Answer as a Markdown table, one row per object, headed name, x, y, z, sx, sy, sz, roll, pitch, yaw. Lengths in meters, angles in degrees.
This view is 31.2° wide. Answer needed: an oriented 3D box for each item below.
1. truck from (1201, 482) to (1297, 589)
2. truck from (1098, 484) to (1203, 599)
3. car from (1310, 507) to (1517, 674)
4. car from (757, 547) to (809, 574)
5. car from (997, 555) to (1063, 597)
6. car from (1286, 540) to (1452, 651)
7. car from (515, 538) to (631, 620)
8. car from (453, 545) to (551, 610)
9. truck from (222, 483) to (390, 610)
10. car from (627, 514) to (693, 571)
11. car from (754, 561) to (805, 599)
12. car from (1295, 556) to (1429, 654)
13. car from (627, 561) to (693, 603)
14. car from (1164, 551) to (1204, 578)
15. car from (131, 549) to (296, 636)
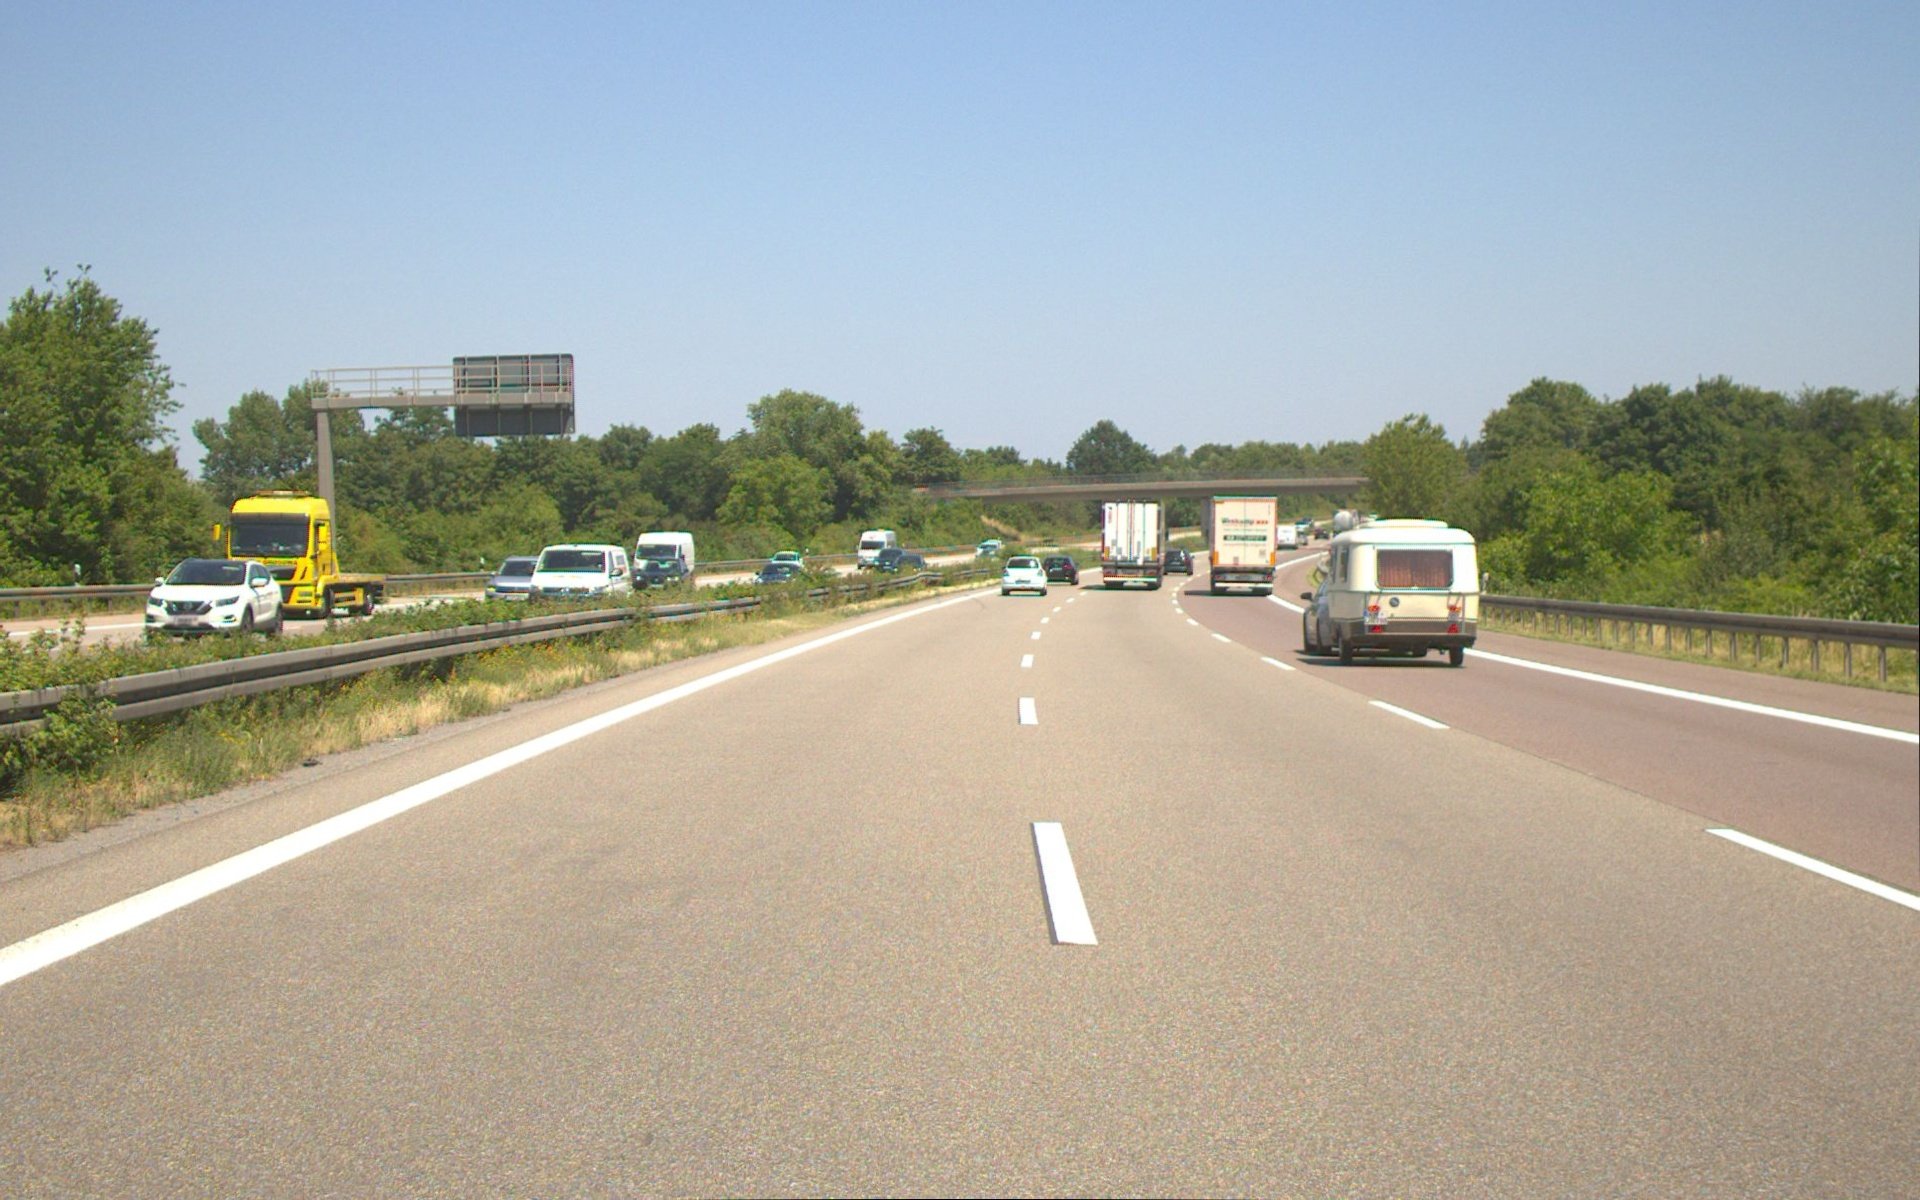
| name | x | y | z | sx | sy | sz | roll | pitch | yaw |
| --- | --- | --- | --- | --- | --- | --- | --- | --- | --- |
| truck | 12.436 | -2.877 | 146.723 | 3.182 | 4.289 | 16.014 | 1 | 2 | 8 |
| truck | 8.981 | -2.854 | 159.807 | 3.667 | 5.001 | 16.014 | 1 | 2 | 7 |
| car | 6.865 | -0.212 | 52.637 | 2.442 | 2.313 | 5.322 | -1 | 2 | 0 |
| car | -9.966 | -2.226 | 193.384 | 1.994 | 1.453 | 4.086 | 0 | 1 | 11 |
| car | 2.775 | -0.945 | 134.888 | 1.829 | 1.541 | 4.317 | 1 | 2 | 12 |
| car | 6.886 | -0.122 | 58.454 | 2.045 | 1.652 | 5.511 | -1 | 2 | -1 |
| car | -9.133 | -0.518 | 81.544 | 1.993 | 1.875 | 5.722 | 0 | 1 | 1 |
| car | -12.576 | -0.646 | 94.677 | 1.993 | 1.730 | 4.814 | 0 | 1 | 1 |
| truck | -16.985 | -1.405 | 89.905 | 2.521 | 3.141 | 9.668 | 0 | 1 | 0 |
| car | -13.272 | -2.524 | 152.321 | 2.131 | 2.469 | 6.333 | 0 | 1 | 2 |
| car | -6.688 | -0.753 | 127.882 | 1.631 | 1.349 | 3.829 | 0 | 1 | 1 |
| car | 6.907 | 0.043 | 59.517 | 1.887 | 1.510 | 5.380 | 1 | 2 | 2 |
| car | -10.889 | -0.670 | 125.060 | 1.979 | 1.505 | 4.235 | 0 | 1 | 1 |
| car | 13.877 | -2.214 | 212.843 | 1.829 | 1.541 | 4.317 | 1 | 2 | 12 |
| car | -13.682 | -0.173 | 63.264 | 1.993 | 1.543 | 4.727 | 0 | 1 | 0 |
